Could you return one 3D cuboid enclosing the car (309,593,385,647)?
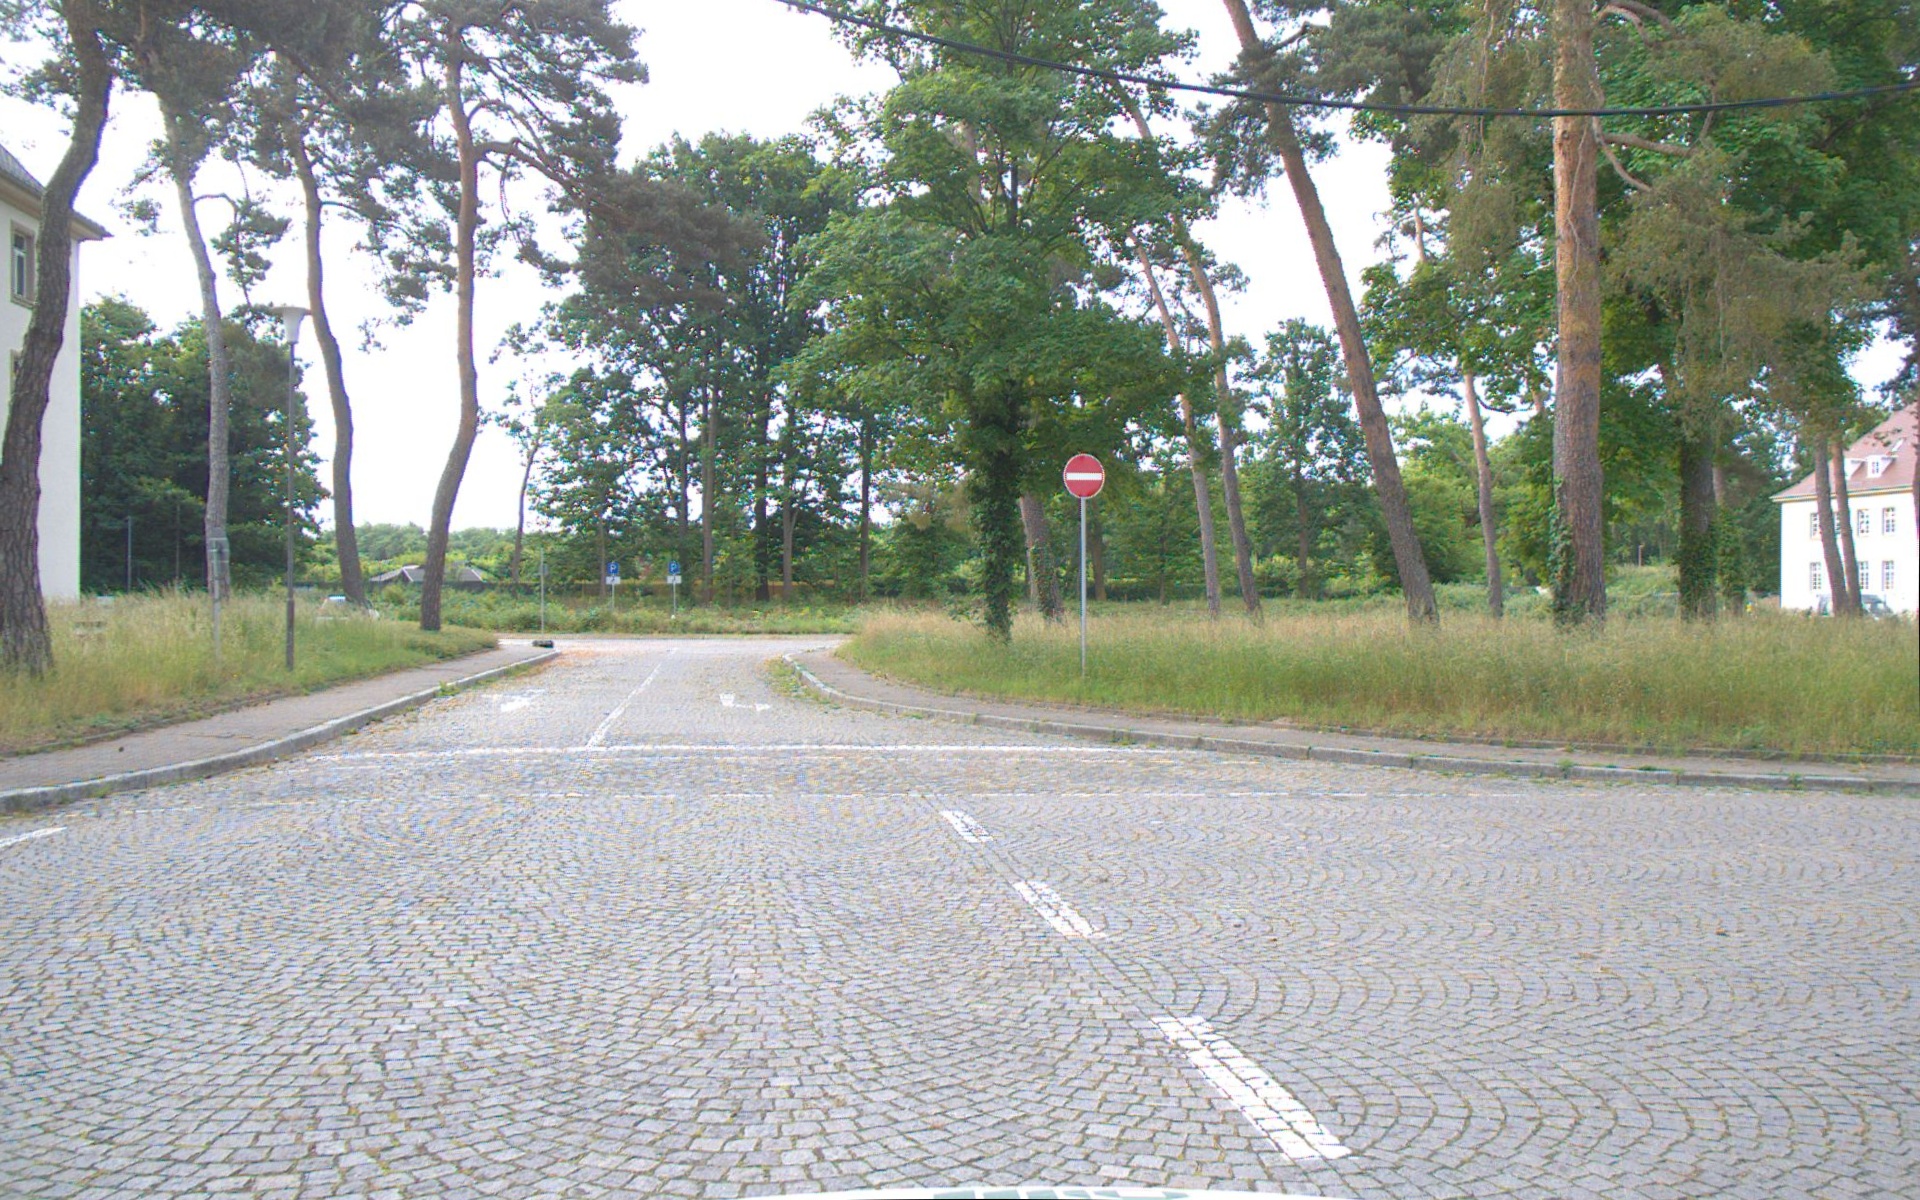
[{"bbox_3d":[-22.870,0.722,61.814,1.958,1.878,3.989,2,0,-11],"label":"car"}]
